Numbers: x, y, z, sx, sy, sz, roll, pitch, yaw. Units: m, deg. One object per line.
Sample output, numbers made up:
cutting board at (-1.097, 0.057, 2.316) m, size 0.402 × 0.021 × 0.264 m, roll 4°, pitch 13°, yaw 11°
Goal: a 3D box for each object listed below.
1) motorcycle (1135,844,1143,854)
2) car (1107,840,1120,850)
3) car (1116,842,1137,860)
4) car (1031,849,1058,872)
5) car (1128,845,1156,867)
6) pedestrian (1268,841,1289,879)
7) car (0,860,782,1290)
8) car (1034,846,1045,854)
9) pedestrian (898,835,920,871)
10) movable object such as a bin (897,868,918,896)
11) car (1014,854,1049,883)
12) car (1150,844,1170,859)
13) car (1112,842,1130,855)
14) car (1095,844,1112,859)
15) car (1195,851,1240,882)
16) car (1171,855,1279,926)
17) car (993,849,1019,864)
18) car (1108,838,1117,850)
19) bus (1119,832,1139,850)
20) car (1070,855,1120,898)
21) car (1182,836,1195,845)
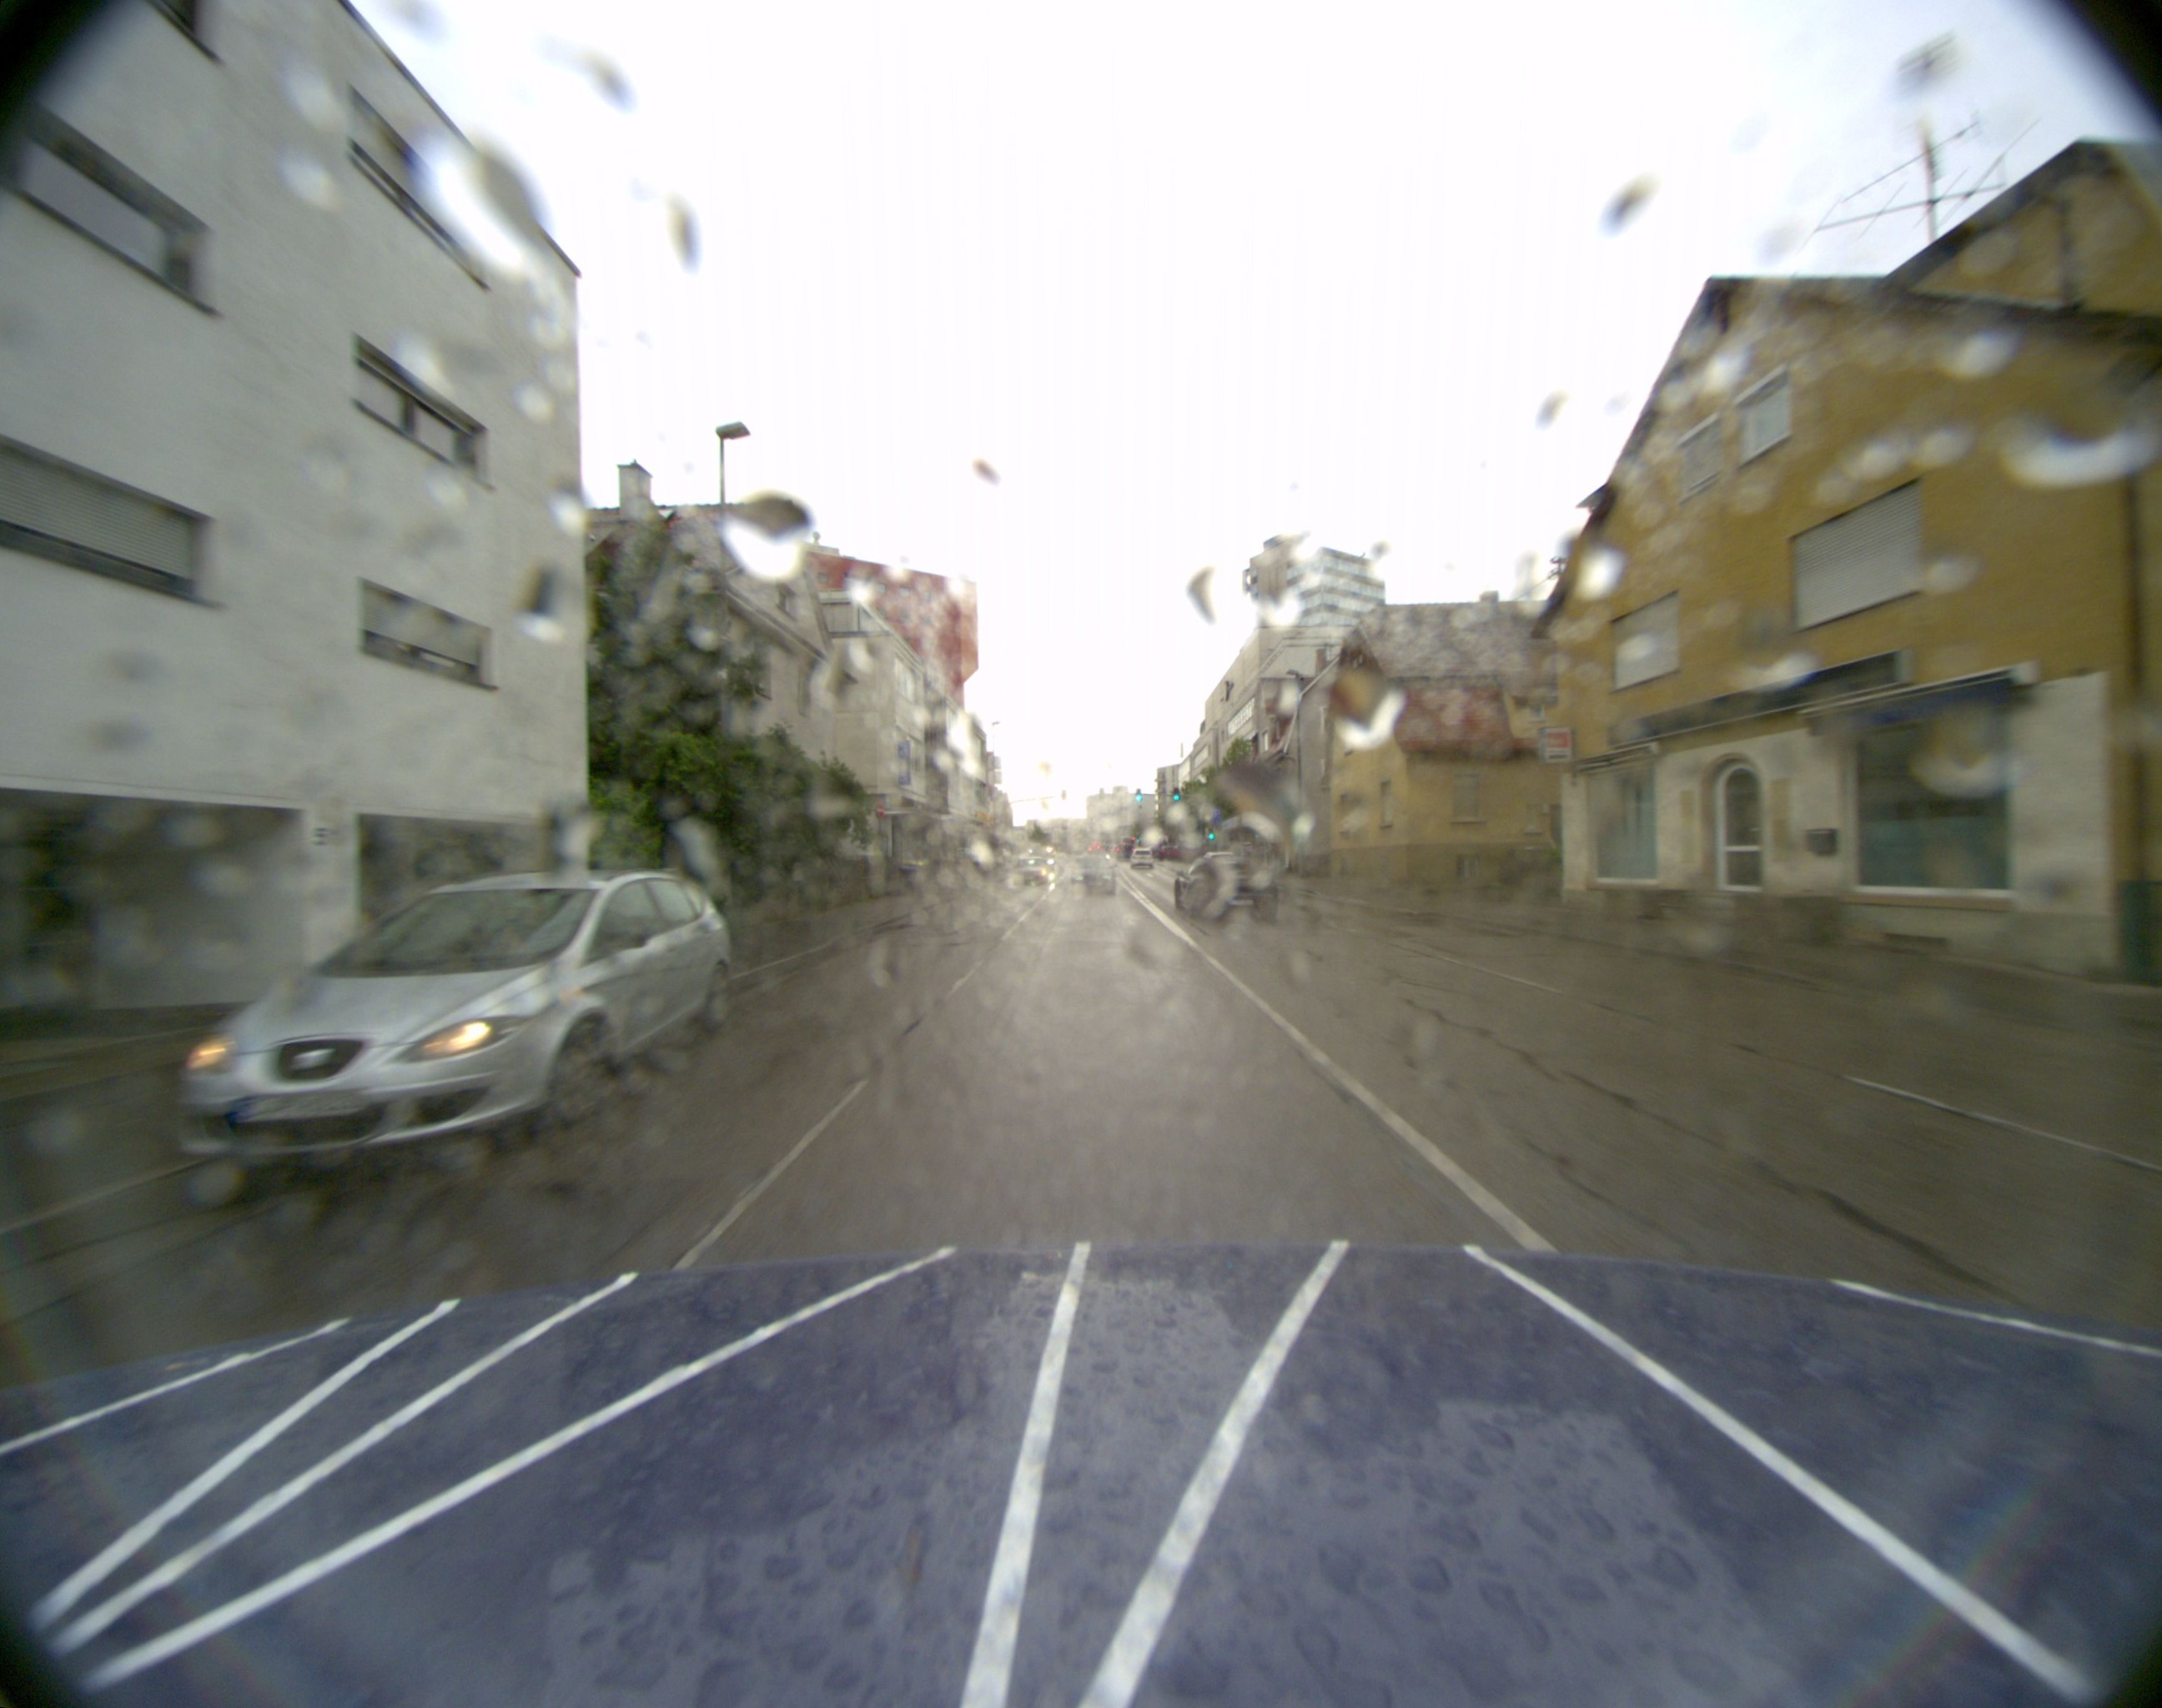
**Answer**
motorcycle at (7.764, -0.654, 101.336) m, size 0.909 × 1.276 × 2.184 m, roll 0°, pitch 2°, yaw 1°
car at (5.003, -1.399, 117.137) m, size 1.763 × 1.426 × 4.379 m, roll 0°, pitch 2°, yaw 0°
car at (5.247, -0.390, 87.971) m, size 1.971 × 1.927 × 5.177 m, roll 0°, pitch 2°, yaw -2°
car at (-2.840, 0.453, 59.057) m, size 2.058 × 1.638 × 4.477 m, roll -1°, pitch 2°, yaw -3°
car at (4.876, 0.150, 61.348) m, size 1.883 × 1.600 × 4.717 m, roll -1°, pitch 2°, yaw 0°
pedestrian at (10.158, 0.281, 39.158) m, size 0.663 × 1.910 × 0.946 m, roll -3°, pitch 2°, yaw -7°
car at (-4.014, 0.986, 5.479) m, size 2.017 × 1.613 × 4.358 m, roll -2°, pitch 3°, yaw -2°
car at (-5.983, -0.619, 110.171) m, size 1.326 × 1.178 × 2.822 m, roll 0°, pitch 2°, yaw 1°
pedestrian at (-8.630, -0.035, 38.113) m, size 0.730 × 1.770 × 0.953 m, roll -1°, pitch 0°, yaw 8°
movable object such as a bin at (-6.460, 1.036, 28.356) m, size 0.577 × 1.042 × 0.830 m, roll 0°, pitch 0°, yaw 0°
car at (-2.556, 0.712, 39.672) m, size 1.662 × 1.300 × 3.993 m, roll 0°, pitch 2°, yaw -2°
car at (9.036, -0.354, 87.218) m, size 2.005 × 1.608 × 4.948 m, roll 0°, pitch 2°, yaw 4°
car at (5.503, -0.768, 105.189) m, size 2.104 × 1.702 × 4.847 m, roll 0°, pitch 2°, yaw -2°
car at (2.377, -0.277, 80.179) m, size 1.719 × 1.442 × 4.197 m, roll 0°, pitch 2°, yaw 1°
car at (7.095, 0.592, 39.831) m, size 1.653 × 1.410 × 4.138 m, roll 2°, pitch 2°, yaw 1°
car at (3.327, 0.784, 18.451) m, size 1.772 × 1.405 × 4.524 m, roll 0°, pitch 2°, yaw 0°
car at (-8.199, 0.256, 83.080) m, size 1.618 × 1.454 × 3.415 m, roll -1°, pitch 2°, yaw -29°
car at (5.769, -1.856, 138.306) m, size 1.637 × 2.002 × 4.284 m, roll 0°, pitch 2°, yaw 2°
bus at (8.543, -2.372, 136.307) m, size 2.899 × 3.082 × 11.996 m, roll 0°, pitch 1°, yaw 1°
car at (0.487, 0.786, 28.834) m, size 1.688 × 1.373 × 3.792 m, roll -2°, pitch 2°, yaw -2°
car at (17.408, -2.158, 123.186) m, size 1.757 × 1.402 × 3.729 m, roll 0°, pitch 2°, yaw 1°
